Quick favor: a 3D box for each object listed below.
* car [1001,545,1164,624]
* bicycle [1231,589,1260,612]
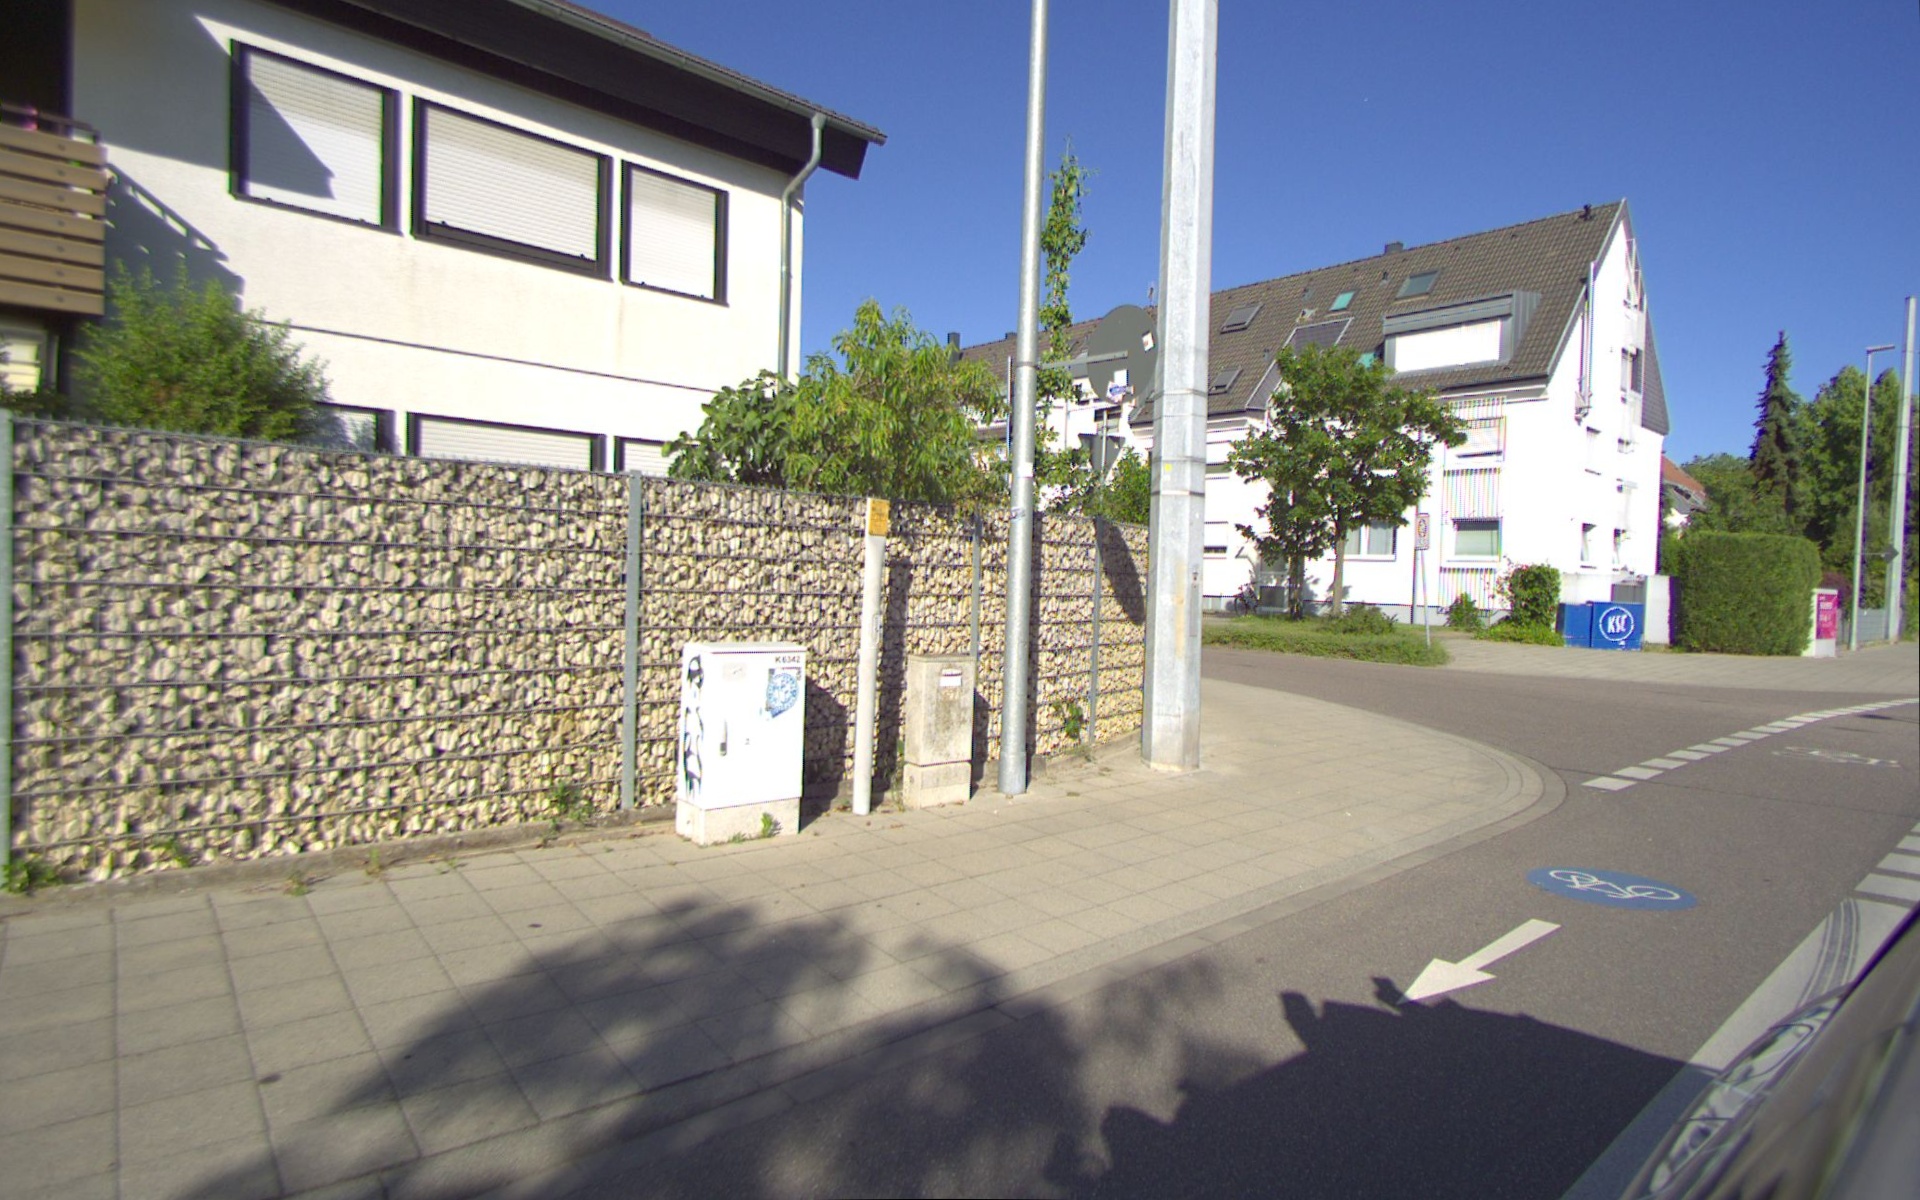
[{"bbox_3d":[3.401,-0.441,27.538,4.567,1.973,1.833,-1,2,-42],"label":"car"},{"bbox_3d":[8.592,0.005,30.394,0.307,0.686,1.401,0,1,40],"label":"bicycle"}]
